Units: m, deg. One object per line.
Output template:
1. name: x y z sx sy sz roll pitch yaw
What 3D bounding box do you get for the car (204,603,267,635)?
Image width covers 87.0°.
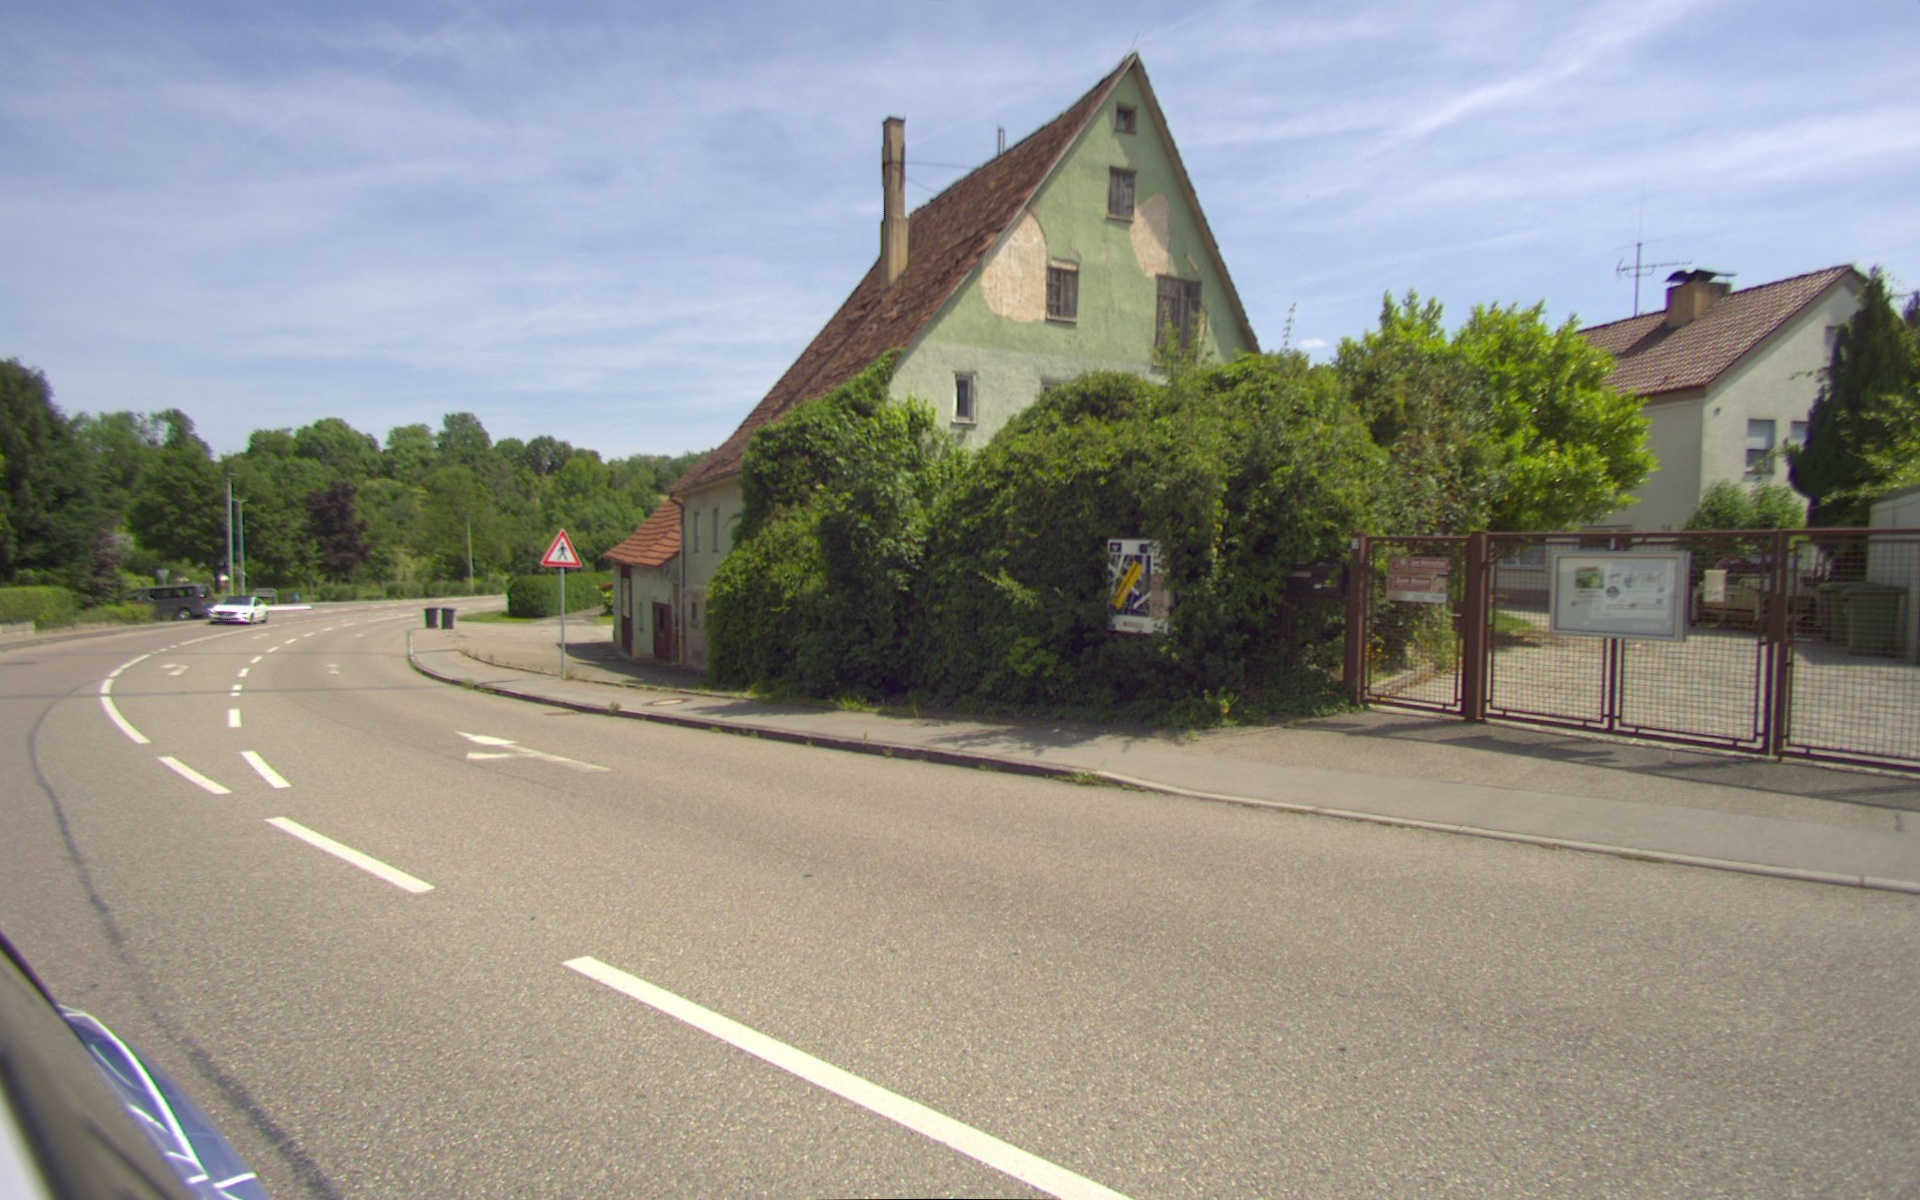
1. car: -37.705 0.967 52.770 1.796 1.564 4.013 1 0 -22

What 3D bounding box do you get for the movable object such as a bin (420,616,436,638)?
1. movable object such as a bin: -27.371 1.371 52.053 0.542 1.090 0.546 -1 0 44

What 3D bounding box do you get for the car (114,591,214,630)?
1. car: -43.567 0.557 55.488 3.843 1.964 1.962 -1 0 -19

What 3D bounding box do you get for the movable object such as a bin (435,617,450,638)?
1. movable object such as a bin: -26.096 1.395 51.058 0.542 1.058 0.527 -1 0 44
